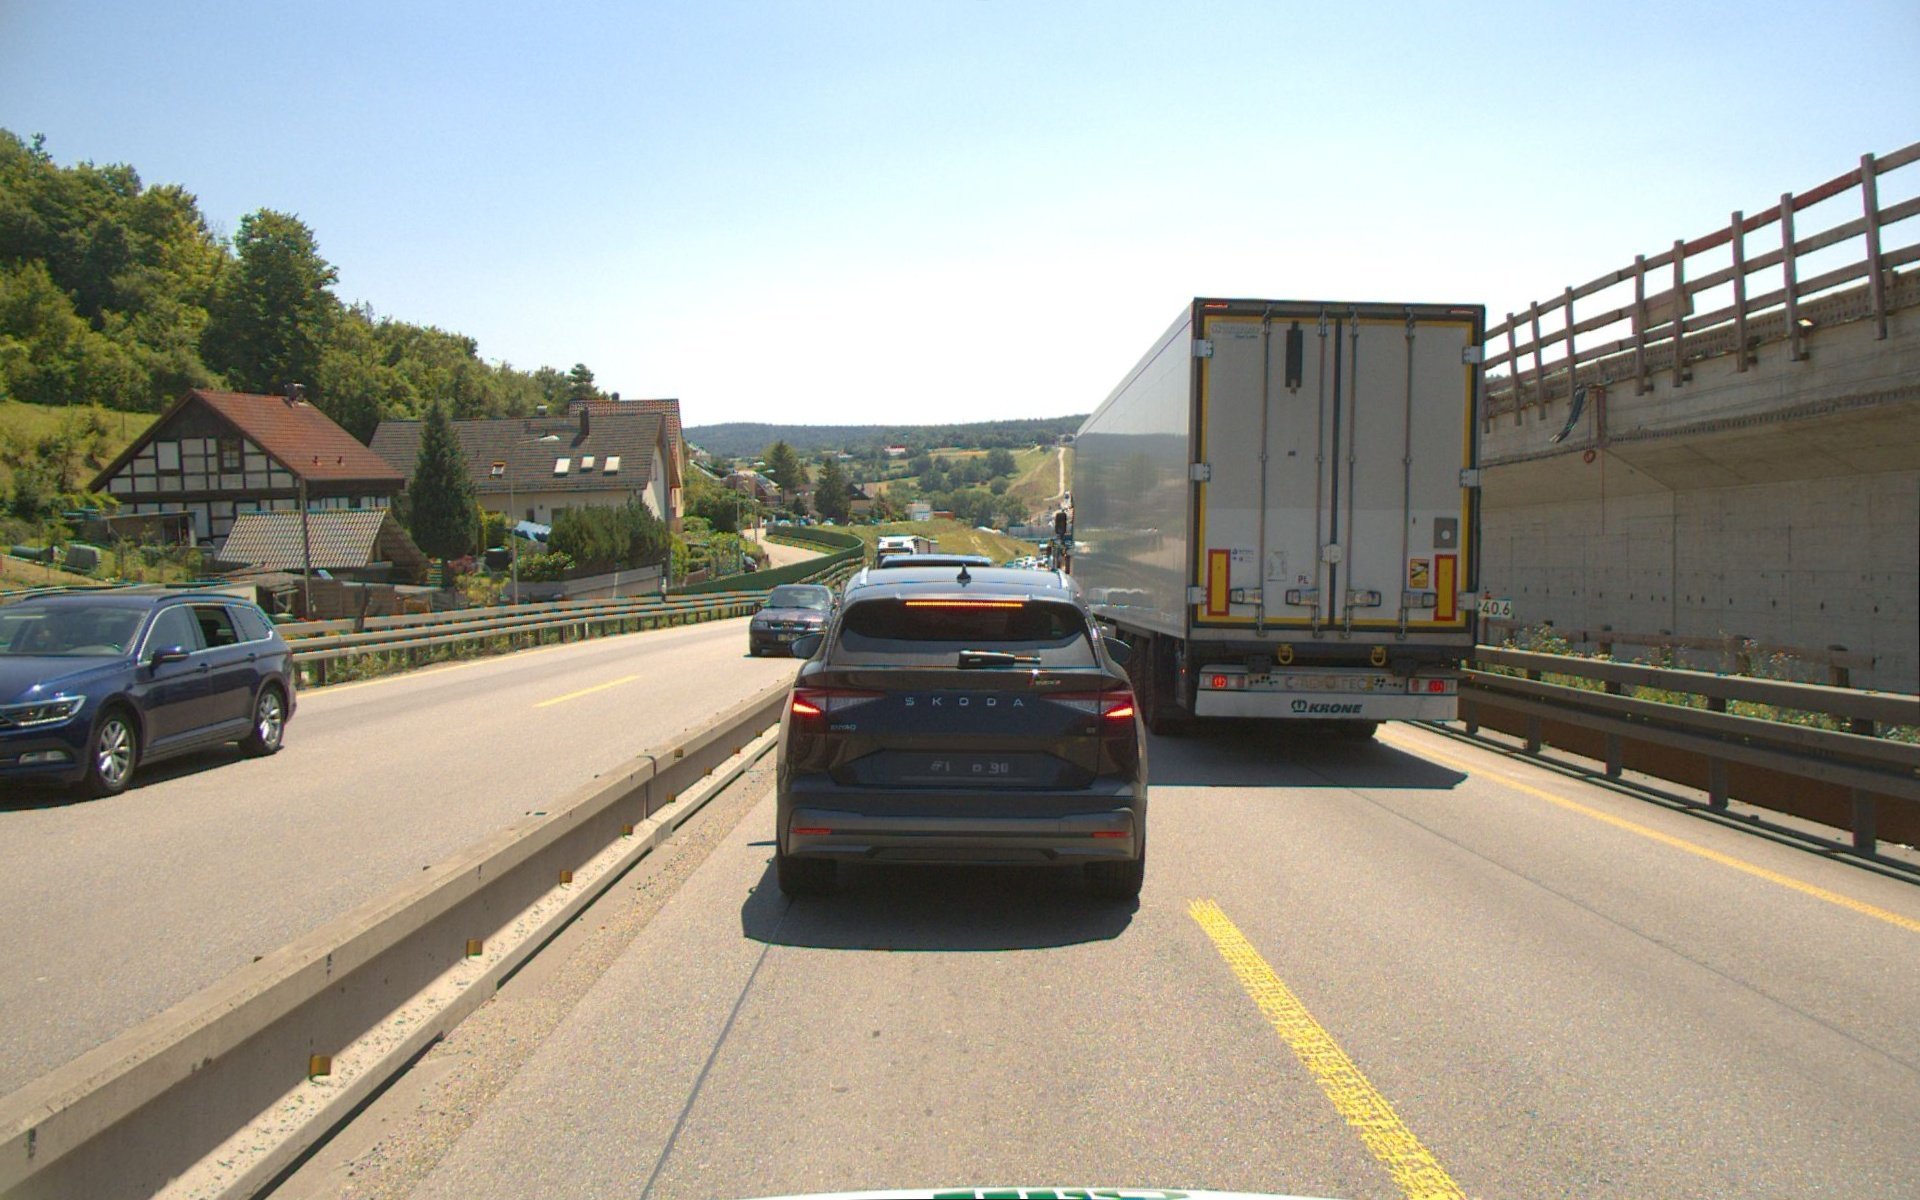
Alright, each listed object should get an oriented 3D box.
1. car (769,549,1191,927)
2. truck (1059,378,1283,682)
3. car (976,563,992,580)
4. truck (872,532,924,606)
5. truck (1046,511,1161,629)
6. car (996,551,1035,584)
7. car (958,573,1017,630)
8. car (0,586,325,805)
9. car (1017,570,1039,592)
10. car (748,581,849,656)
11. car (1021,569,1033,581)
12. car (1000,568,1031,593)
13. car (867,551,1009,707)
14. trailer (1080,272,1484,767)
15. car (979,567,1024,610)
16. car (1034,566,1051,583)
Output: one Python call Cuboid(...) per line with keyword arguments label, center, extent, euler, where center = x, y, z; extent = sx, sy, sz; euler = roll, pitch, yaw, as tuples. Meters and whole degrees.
Cuboid(label="car", center=(-0.043, 0.609, 9.089), extent=(1.806, 1.614, 3.904), euler=(1, 0, -4))
Cuboid(label="truck", center=(3.117, -0.940, 26.605), extent=(2.462, 4.095, 8.236), euler=(1, 0, 0))
Cuboid(label="car", center=(2.515, -3.032, 176.653), extent=(1.666, 1.758, 3.836), euler=(1, 0, 0))
Cuboid(label="truck", center=(-3.777, -1.888, 101.377), extent=(2.694, 4.358, 4.959), euler=(1, 1, 3))
Cuboid(label="truck", center=(4.319, -0.819, 52.192), extent=(3.128, 3.247, 12.813), euler=(0, 0, 3))
Cuboid(label="car", center=(2.946, -1.724, 88.605), extent=(1.953, 1.613, 3.836), euler=(1, 0, 0))
Cuboid(label="car", center=(0.803, 0.014, 50.959), extent=(1.672, 1.650, 4.000), euler=(1, 1, -1))
Cuboid(label="car", center=(-6.913, 0.655, 13.326), extent=(1.804, 1.443, 4.686), euler=(-1, 0, -1))
Cuboid(label="car", center=(5.602, -1.560, 136.182), extent=(1.665, 1.758, 3.838), euler=(1, 0, 4))
Cuboid(label="car", center=(-3.301, 0.341, 34.366), extent=(1.683, 1.433, 4.000), euler=(-1, 1, 0))
Cuboid(label="car", center=(9.751, -3.614, 240.351), extent=(1.665, 1.758, 3.838), euler=(1, 0, 4))
Cuboid(label="car", center=(3.657, -1.291, 110.153), extent=(1.953, 1.613, 3.836), euler=(1, 0, 0))
Cuboid(label="car", center=(-0.386, 0.318, 22.631), extent=(1.673, 1.914, 3.997), euler=(1, 1, -4))
Cuboid(label="trailer", center=(3.181, -0.663, 19.940), extent=(2.480, 4.199, 11.546), euler=(1, 0, 0))
Cuboid(label="car", center=(1.697, -0.505, 67.931), extent=(1.672, 1.650, 4.000), euler=(1, 1, -1))
Cuboid(label="car", center=(8.679, -2.675, 173.393), extent=(1.665, 1.758, 3.838), euler=(1, 0, 4))
